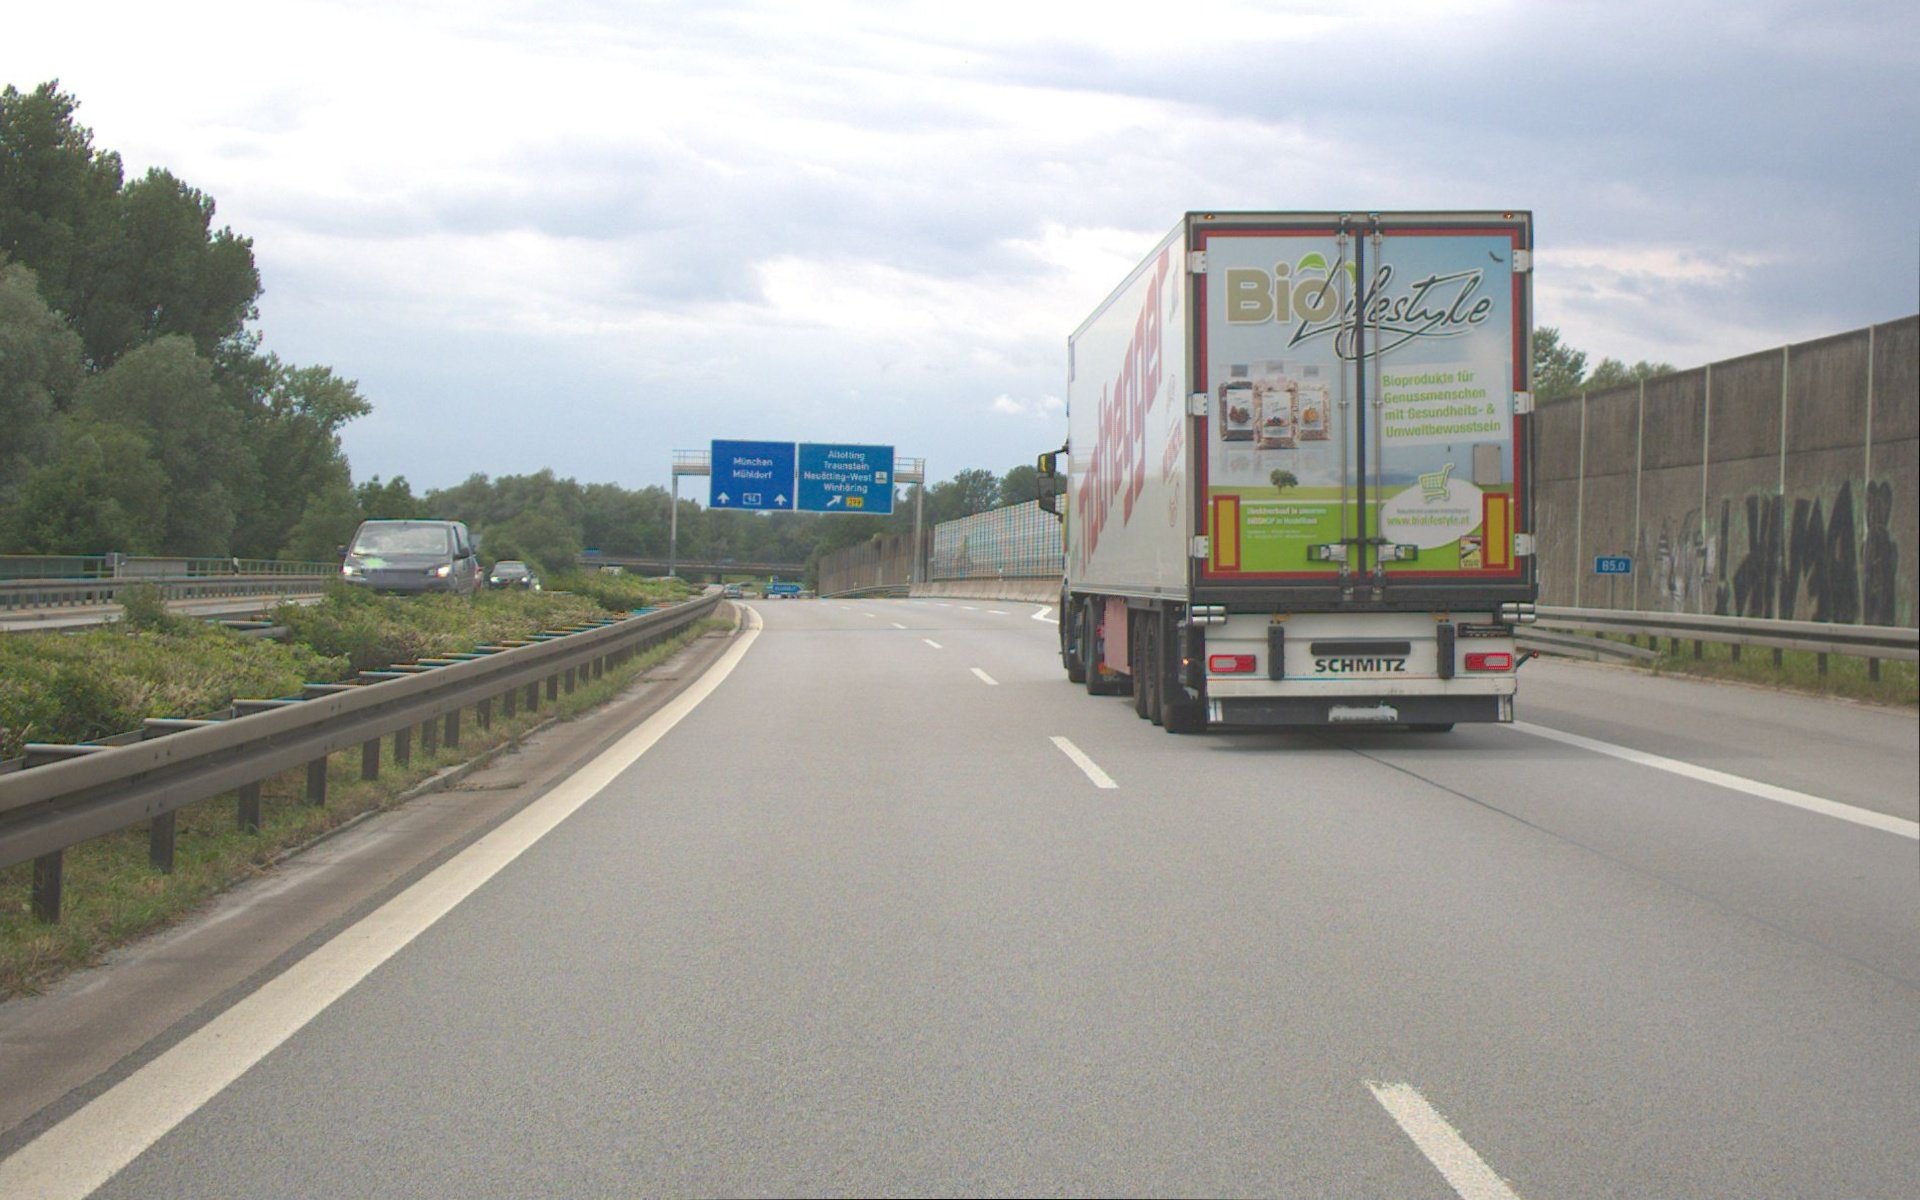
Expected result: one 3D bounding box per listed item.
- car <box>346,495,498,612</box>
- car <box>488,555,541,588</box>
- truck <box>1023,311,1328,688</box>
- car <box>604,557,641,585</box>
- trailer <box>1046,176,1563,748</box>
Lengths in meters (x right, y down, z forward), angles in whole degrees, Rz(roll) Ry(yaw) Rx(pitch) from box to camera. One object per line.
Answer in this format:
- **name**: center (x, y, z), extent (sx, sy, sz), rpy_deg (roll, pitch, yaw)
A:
- **car**: center (-8.965, -0.798, 57.577), extent (1.993, 1.879, 4.556), rpy_deg (0, 1, -2)
- **car**: center (-19.570, -1.270, 151.154), extent (1.969, 1.399, 4.710), rpy_deg (-1, 1, -4)
- **truck**: center (2.322, -1.094, 38.944), extent (2.755, 3.946, 5.678), rpy_deg (0, 1, -4)
- **car**: center (-18.823, -1.613, 191.789), extent (1.841, 1.525, 4.836), rpy_deg (-1, 1, -4)
- **trailer**: center (2.690, -1.100, 32.130), extent (2.792, 4.160, 14.105), rpy_deg (0, 1, -3)
